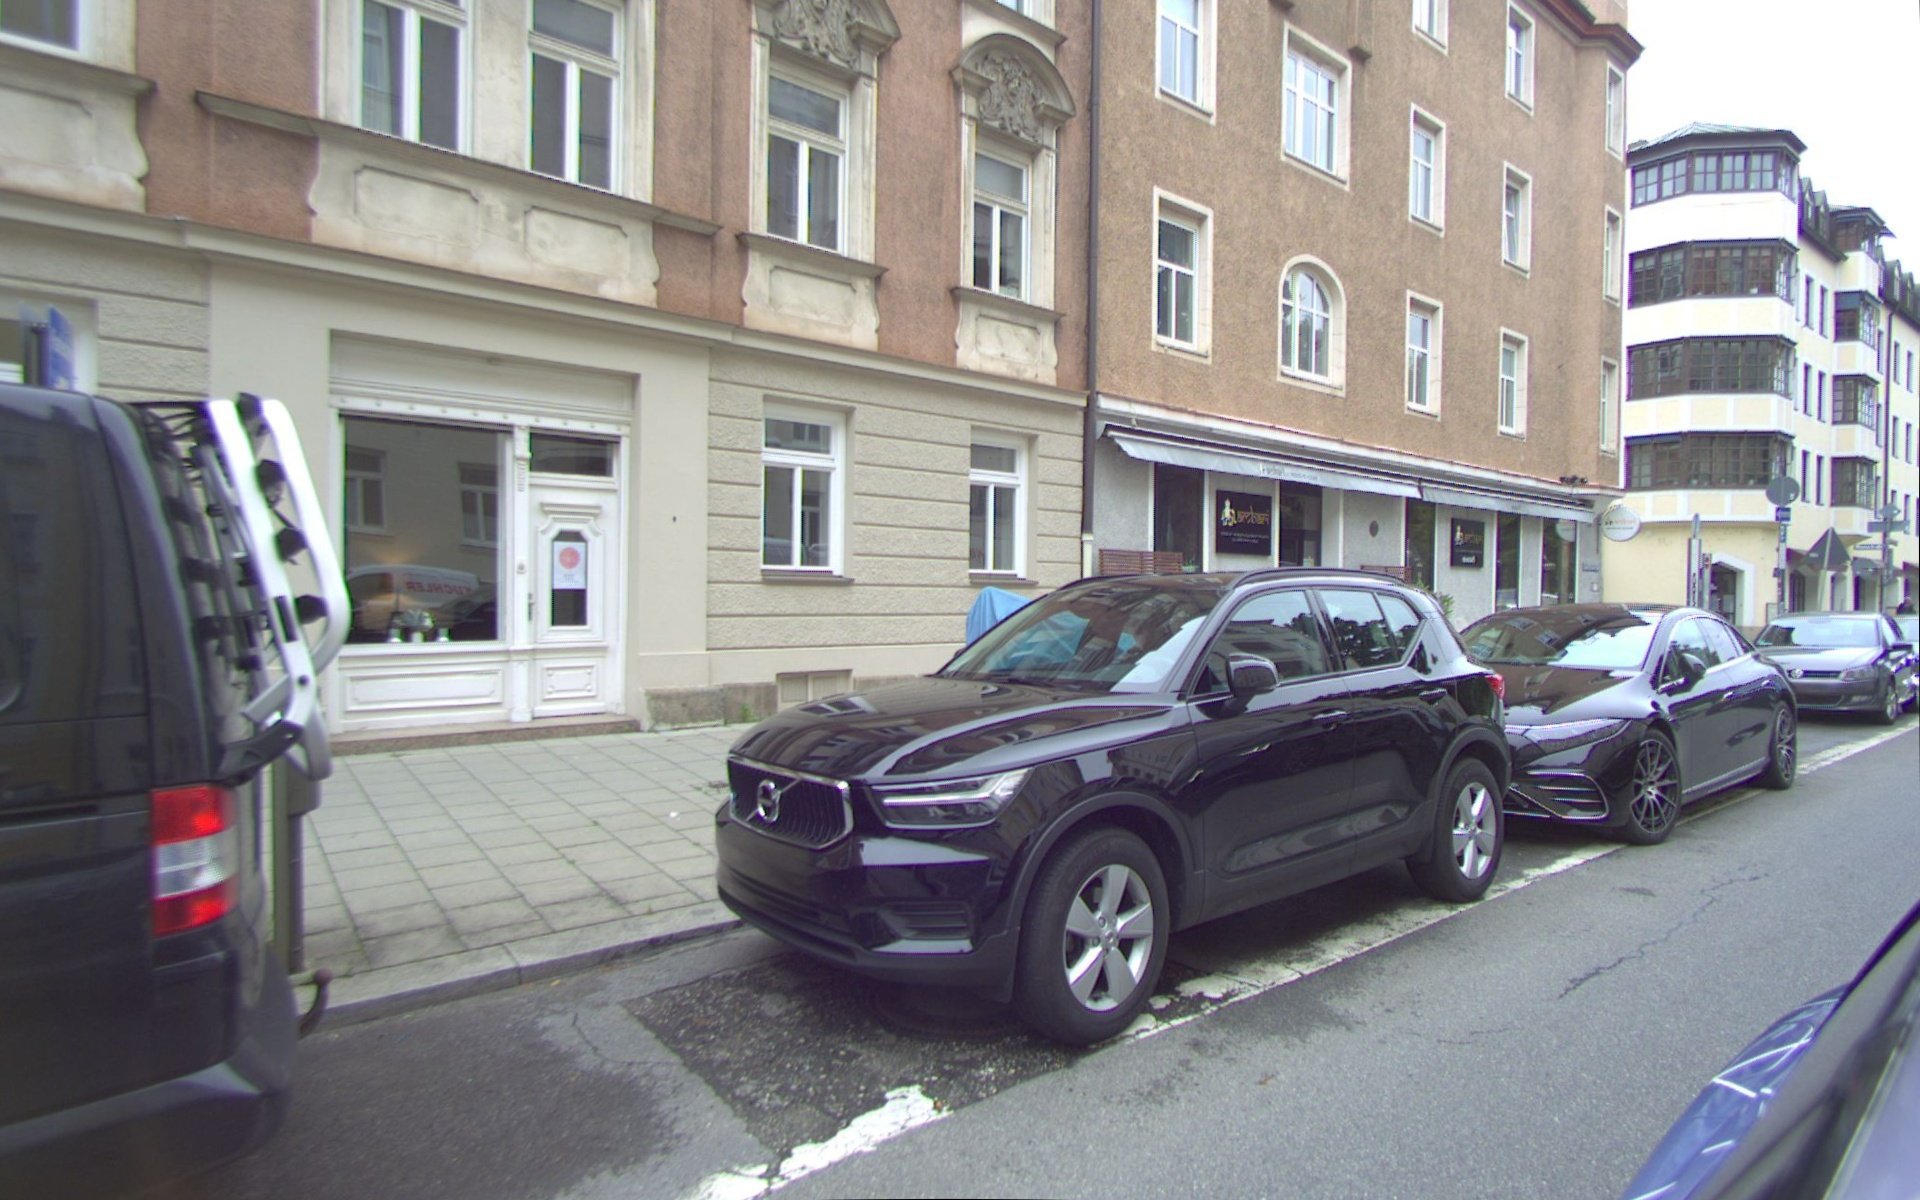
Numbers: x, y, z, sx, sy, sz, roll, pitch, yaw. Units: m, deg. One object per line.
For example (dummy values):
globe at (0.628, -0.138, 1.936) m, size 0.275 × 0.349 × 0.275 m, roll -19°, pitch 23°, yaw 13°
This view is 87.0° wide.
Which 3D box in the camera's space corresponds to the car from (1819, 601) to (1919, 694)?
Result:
car at (16.541, 0.739, 17.388) m, size 4.701 × 1.423 × 1.851 m, roll 0°, pitch 1°, yaw -39°

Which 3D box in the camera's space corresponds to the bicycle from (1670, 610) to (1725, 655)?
bicycle at (17.665, 0.768, 24.241) m, size 1.768 × 1.018 × 0.497 m, roll 2°, pitch 1°, yaw -36°

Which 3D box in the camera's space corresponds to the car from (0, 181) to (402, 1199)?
car at (-3.721, 0.390, 1.223) m, size 5.048 × 1.944 × 2.088 m, roll -3°, pitch 1°, yaw -38°

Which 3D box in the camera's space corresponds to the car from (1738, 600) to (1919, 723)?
car at (12.372, 0.740, 14.092) m, size 4.108 × 1.412 × 1.576 m, roll 0°, pitch 1°, yaw -40°

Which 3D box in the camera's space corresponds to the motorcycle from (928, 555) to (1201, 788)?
motorcycle at (0.812, 0.465, 7.561) m, size 1.960 × 1.524 × 0.874 m, roll 0°, pitch 0°, yaw -37°

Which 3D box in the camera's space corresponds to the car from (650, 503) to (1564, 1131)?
car at (0.971, 0.597, 4.761) m, size 4.327 × 1.698 × 1.697 m, roll 0°, pitch -2°, yaw -38°

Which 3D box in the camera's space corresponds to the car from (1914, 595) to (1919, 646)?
car at (33.251, 0.683, 33.264) m, size 4.414 × 1.643 × 2.112 m, roll 0°, pitch 1°, yaw -38°

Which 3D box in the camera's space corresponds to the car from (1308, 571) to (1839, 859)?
car at (5.150, 0.628, 8.051) m, size 5.536 × 1.573 × 1.935 m, roll 0°, pitch 0°, yaw -40°

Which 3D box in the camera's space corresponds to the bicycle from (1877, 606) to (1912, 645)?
bicycle at (29.364, 0.790, 31.797) m, size 2.015 × 1.173 × 0.431 m, roll -1°, pitch 2°, yaw -37°

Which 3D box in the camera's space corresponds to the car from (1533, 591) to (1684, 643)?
car at (21.175, 0.526, 33.164) m, size 1.717 × 1.458 × 3.748 m, roll 4°, pitch 0°, yaw -34°

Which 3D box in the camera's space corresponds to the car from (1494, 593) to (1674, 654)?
car at (17.349, 0.590, 28.296) m, size 1.857 × 1.506 × 3.884 m, roll 0°, pitch 1°, yaw -37°

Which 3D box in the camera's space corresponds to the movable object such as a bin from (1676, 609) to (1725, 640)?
movable object such as a bin at (23.791, 0.782, 32.533) m, size 0.671 × 0.911 × 1.126 m, roll 0°, pitch 2°, yaw -37°

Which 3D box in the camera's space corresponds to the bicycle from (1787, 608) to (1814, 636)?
bicycle at (29.312, 0.750, 35.296) m, size 1.663 × 0.912 × 0.263 m, roll 0°, pitch 5°, yaw -36°

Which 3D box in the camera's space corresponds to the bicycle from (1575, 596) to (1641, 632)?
bicycle at (23.111, 0.495, 36.119) m, size 0.506 × 1.201 × 1.906 m, roll 1°, pitch 1°, yaw -37°
